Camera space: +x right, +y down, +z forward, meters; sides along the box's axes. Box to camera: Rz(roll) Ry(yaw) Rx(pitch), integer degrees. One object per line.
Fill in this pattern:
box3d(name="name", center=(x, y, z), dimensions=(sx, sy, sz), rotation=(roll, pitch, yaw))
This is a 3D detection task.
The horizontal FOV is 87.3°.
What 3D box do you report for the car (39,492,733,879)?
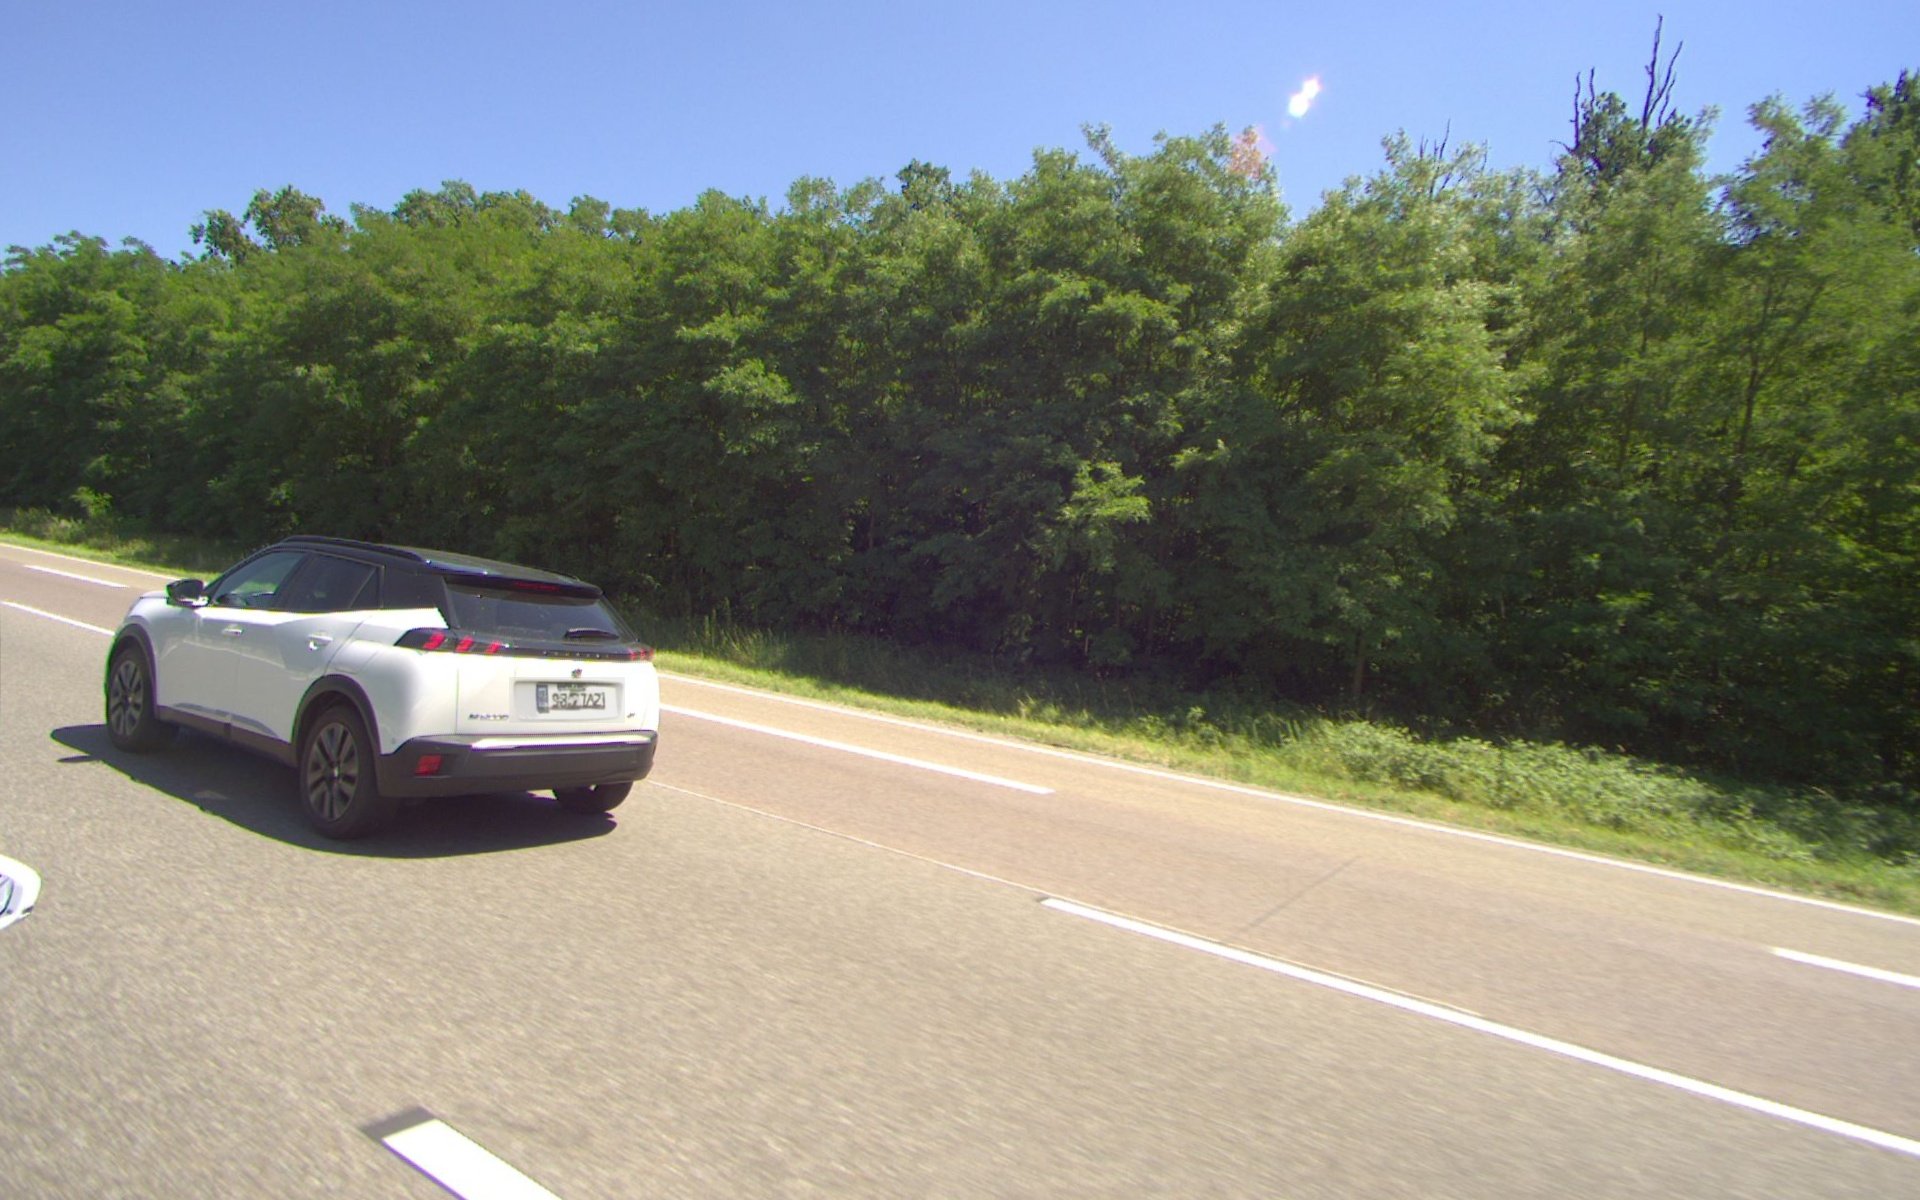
box3d(name="car", center=(-3.955, 0.340, 6.660), dimensions=(4.729, 1.627, 1.830), rotation=(6, -1, 32))
